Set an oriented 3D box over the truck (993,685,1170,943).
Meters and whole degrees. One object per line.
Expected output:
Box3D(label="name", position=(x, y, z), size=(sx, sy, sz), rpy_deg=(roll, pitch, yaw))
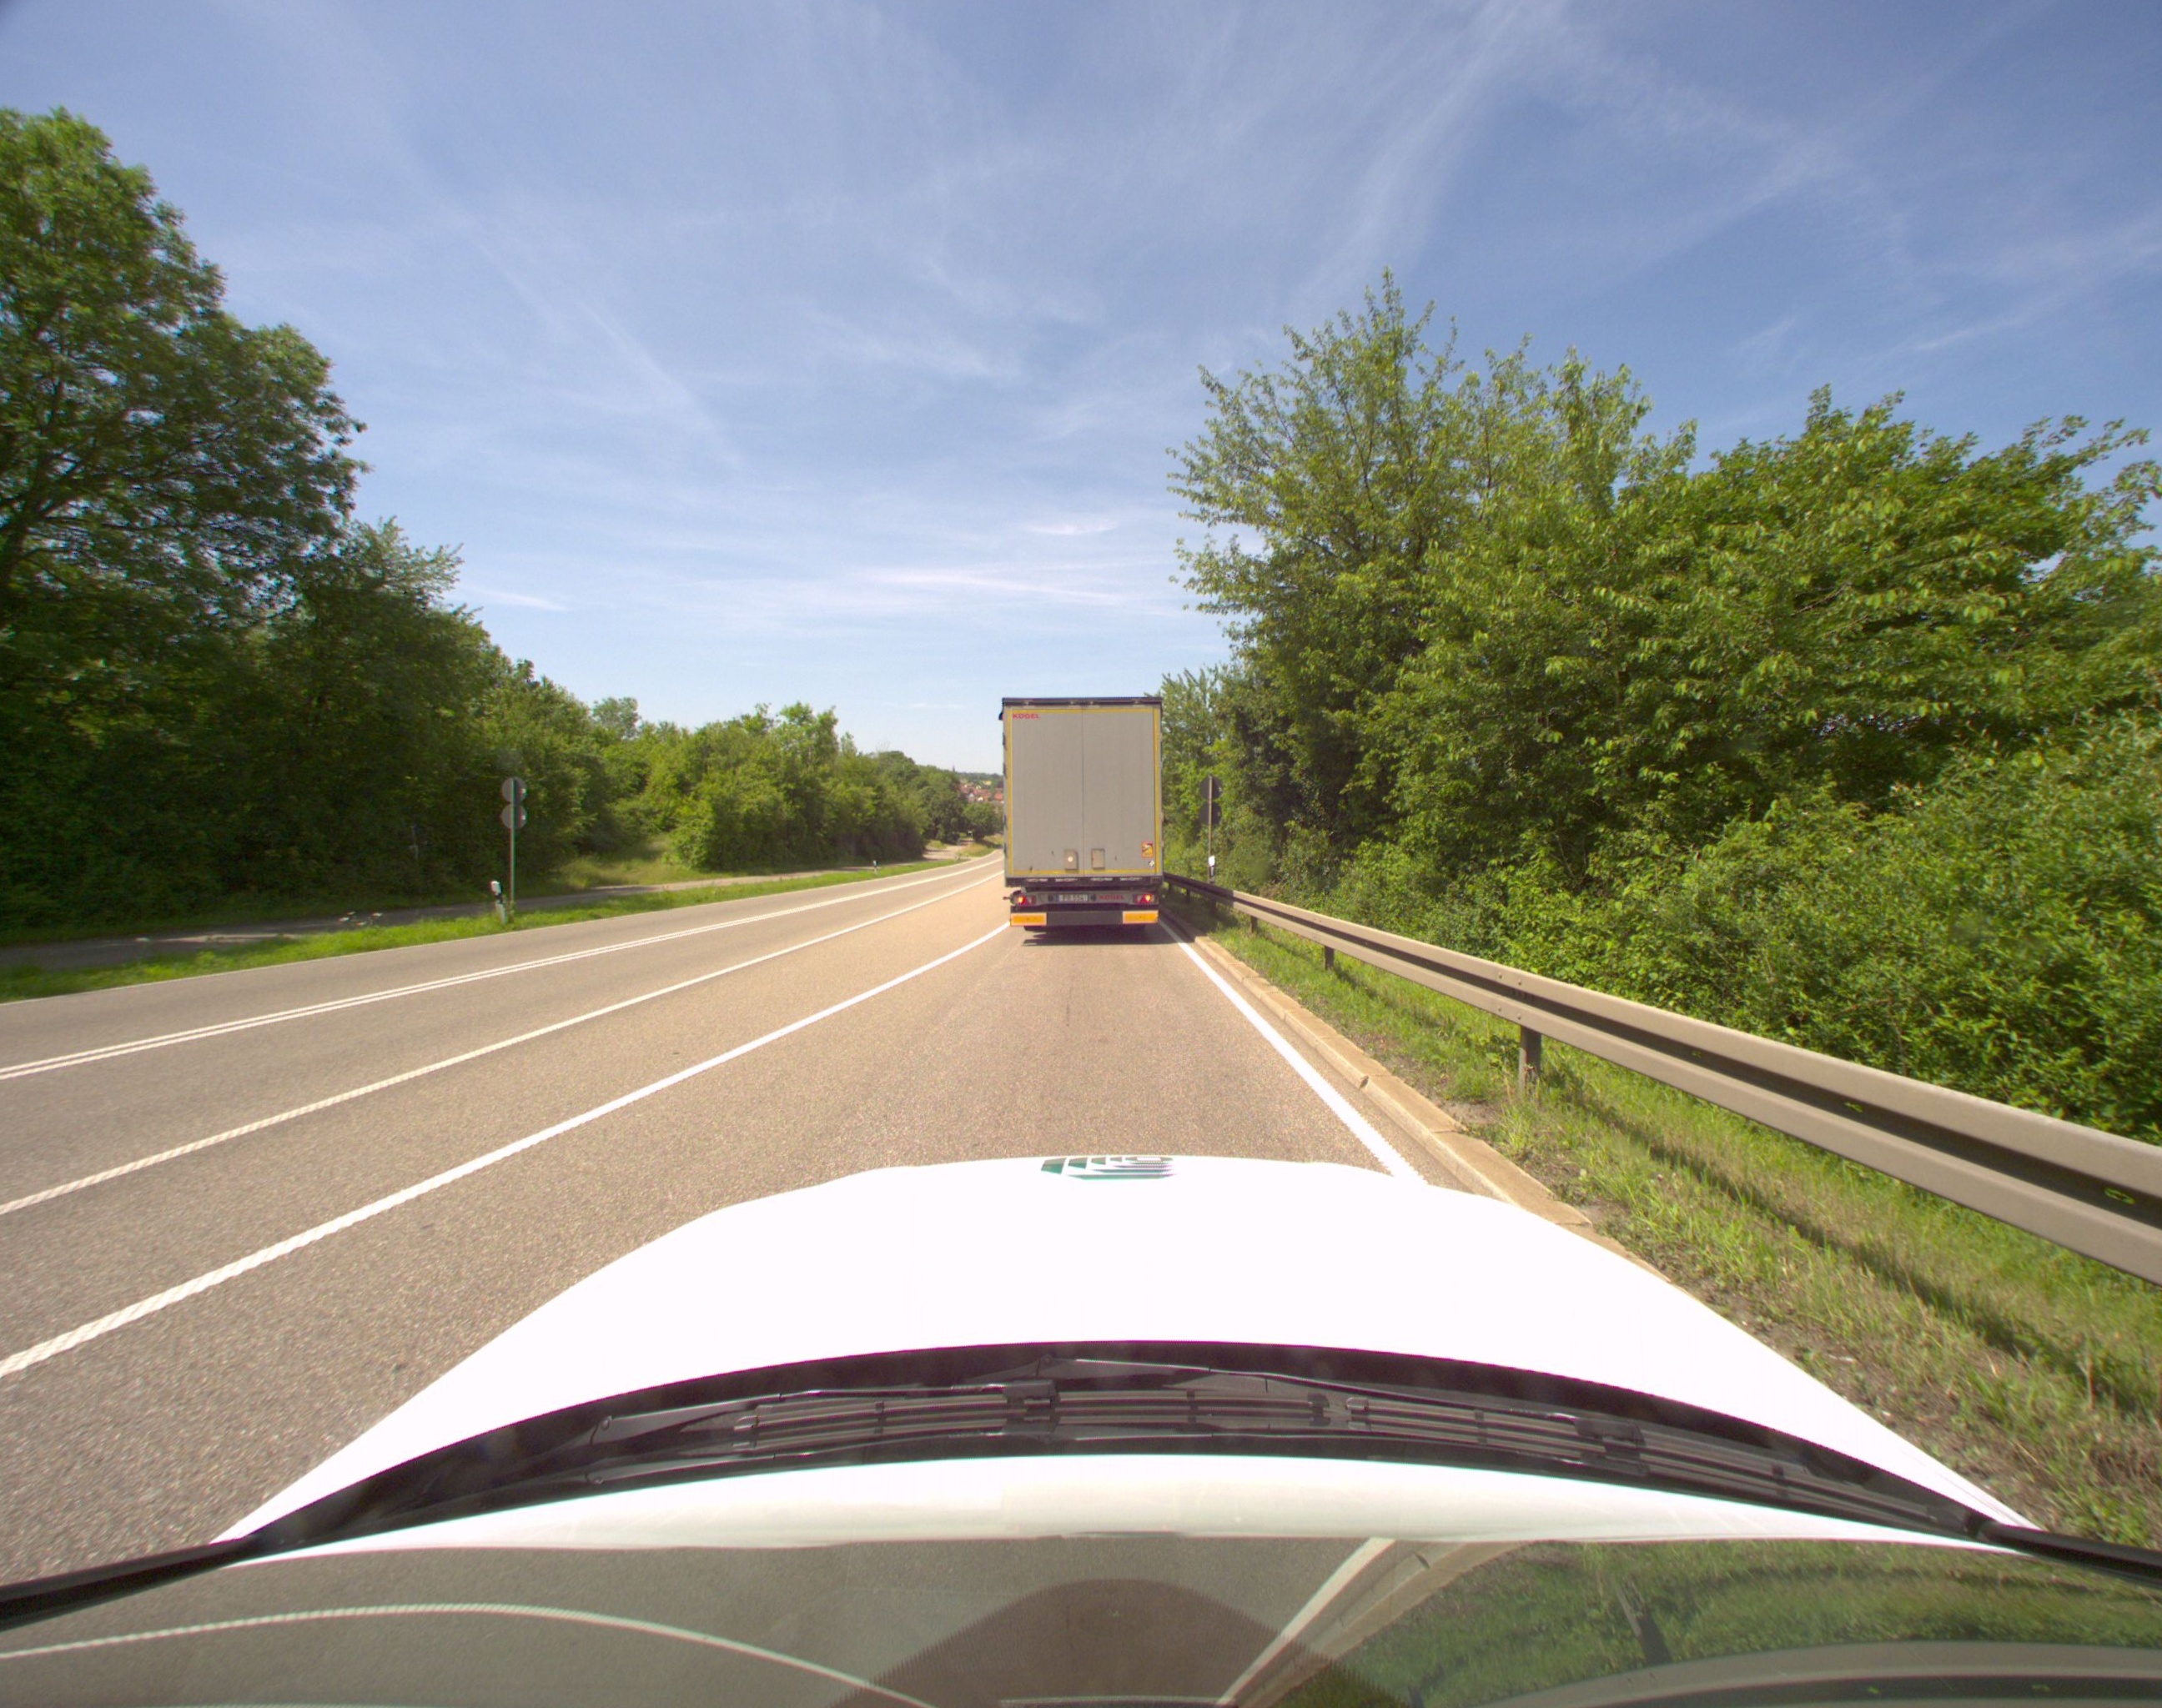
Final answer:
Box3D(label="truck", position=(0.198, -0.665, 18.800), size=(2.746, 4.029, 11.929), rpy_deg=(-1, 0, 2))
